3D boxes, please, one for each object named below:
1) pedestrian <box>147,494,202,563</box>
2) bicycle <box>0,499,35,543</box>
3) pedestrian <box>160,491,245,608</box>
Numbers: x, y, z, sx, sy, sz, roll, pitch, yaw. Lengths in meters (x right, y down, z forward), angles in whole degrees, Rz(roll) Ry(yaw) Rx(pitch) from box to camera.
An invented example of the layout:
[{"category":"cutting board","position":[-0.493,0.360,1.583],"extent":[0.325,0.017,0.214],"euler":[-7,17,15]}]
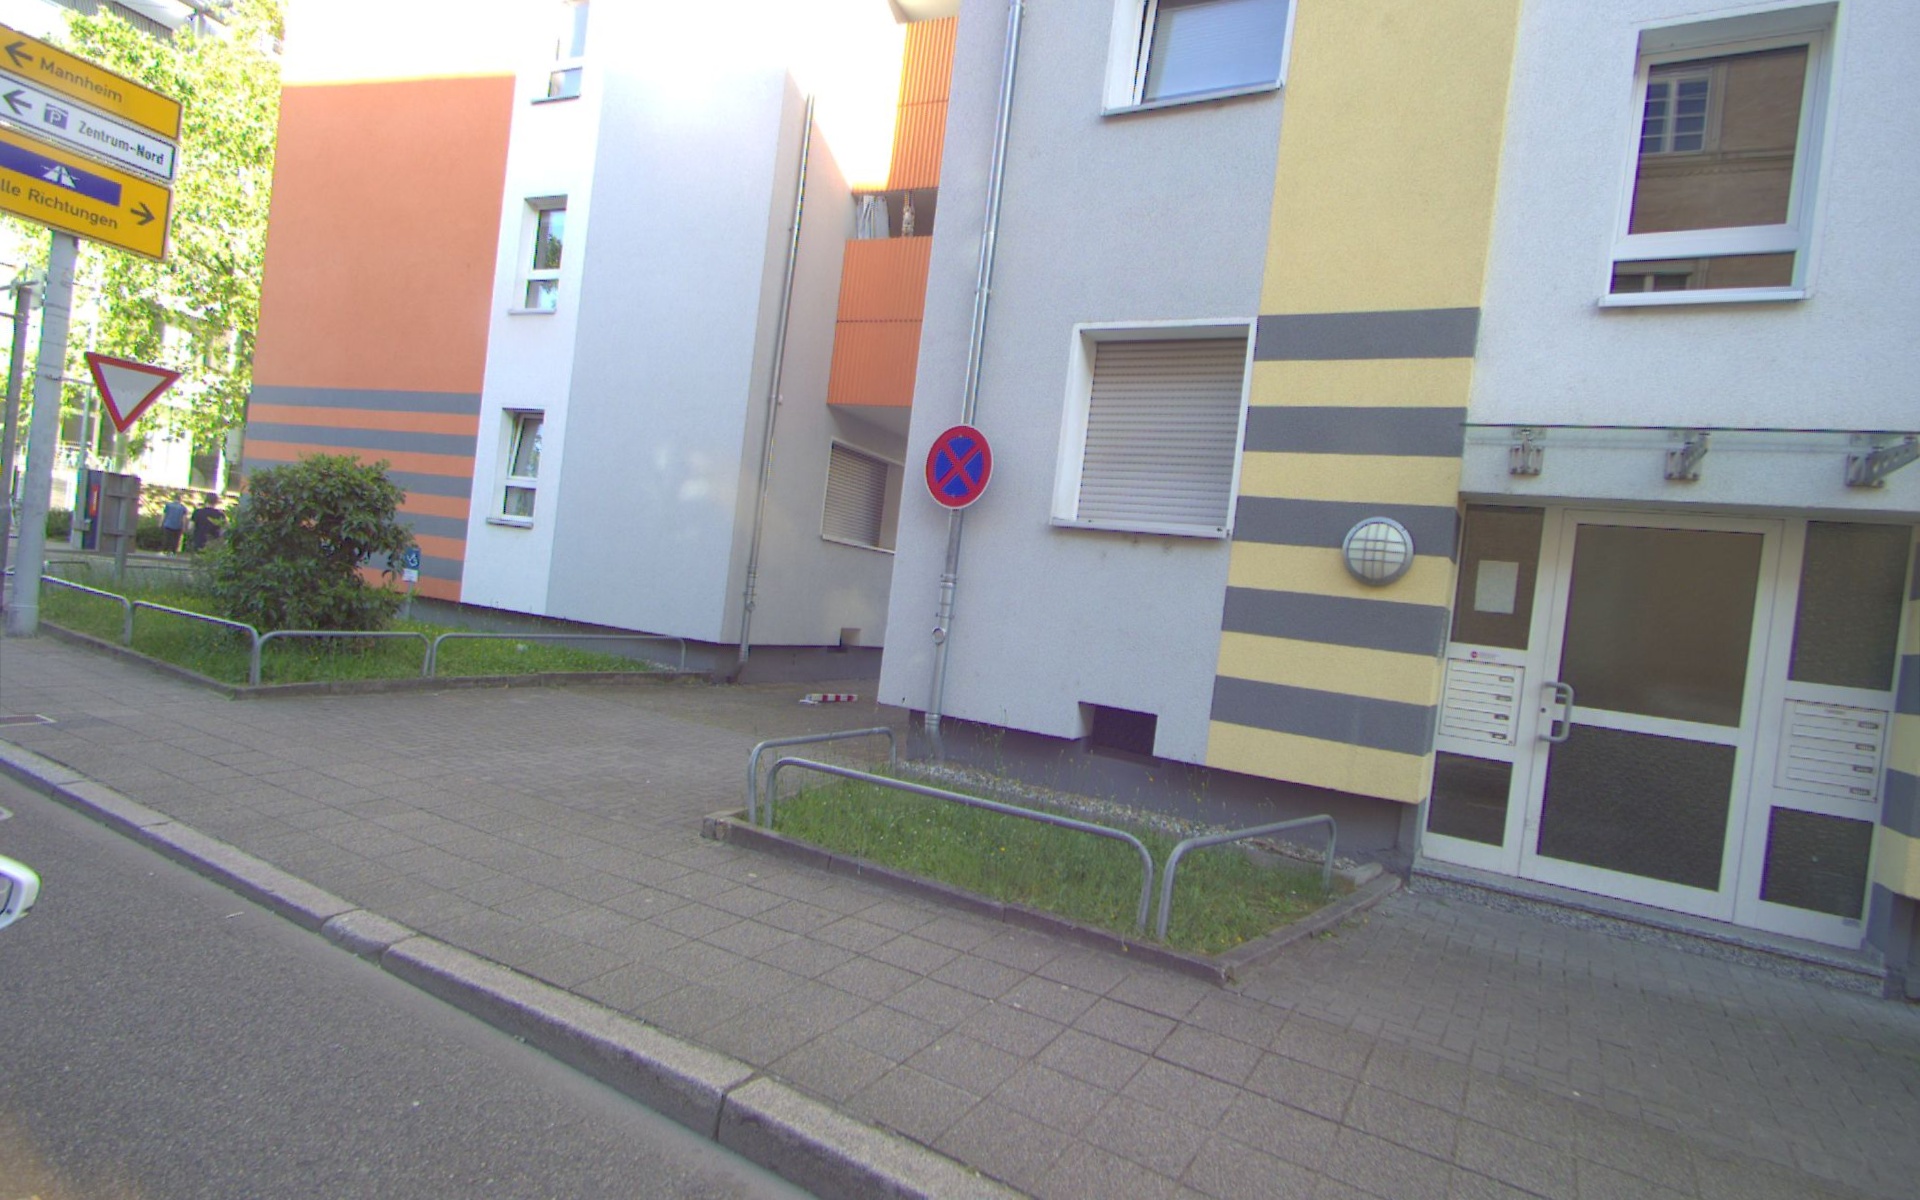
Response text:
[{"category":"pedestrian","position":[-23.017,-2.082,29.493],"extent":[0.696,1.861,0.837],"euler":[8,-1,22]},{"category":"bicycle","position":[-26.292,-2.231,27.354],"extent":[1.658,1.063,0.508],"euler":[9,2,-3]},{"category":"pedestrian","position":[-12.960,-0.861,17.217],"extent":[0.823,1.861,0.708],"euler":[8,-1,32]}]
